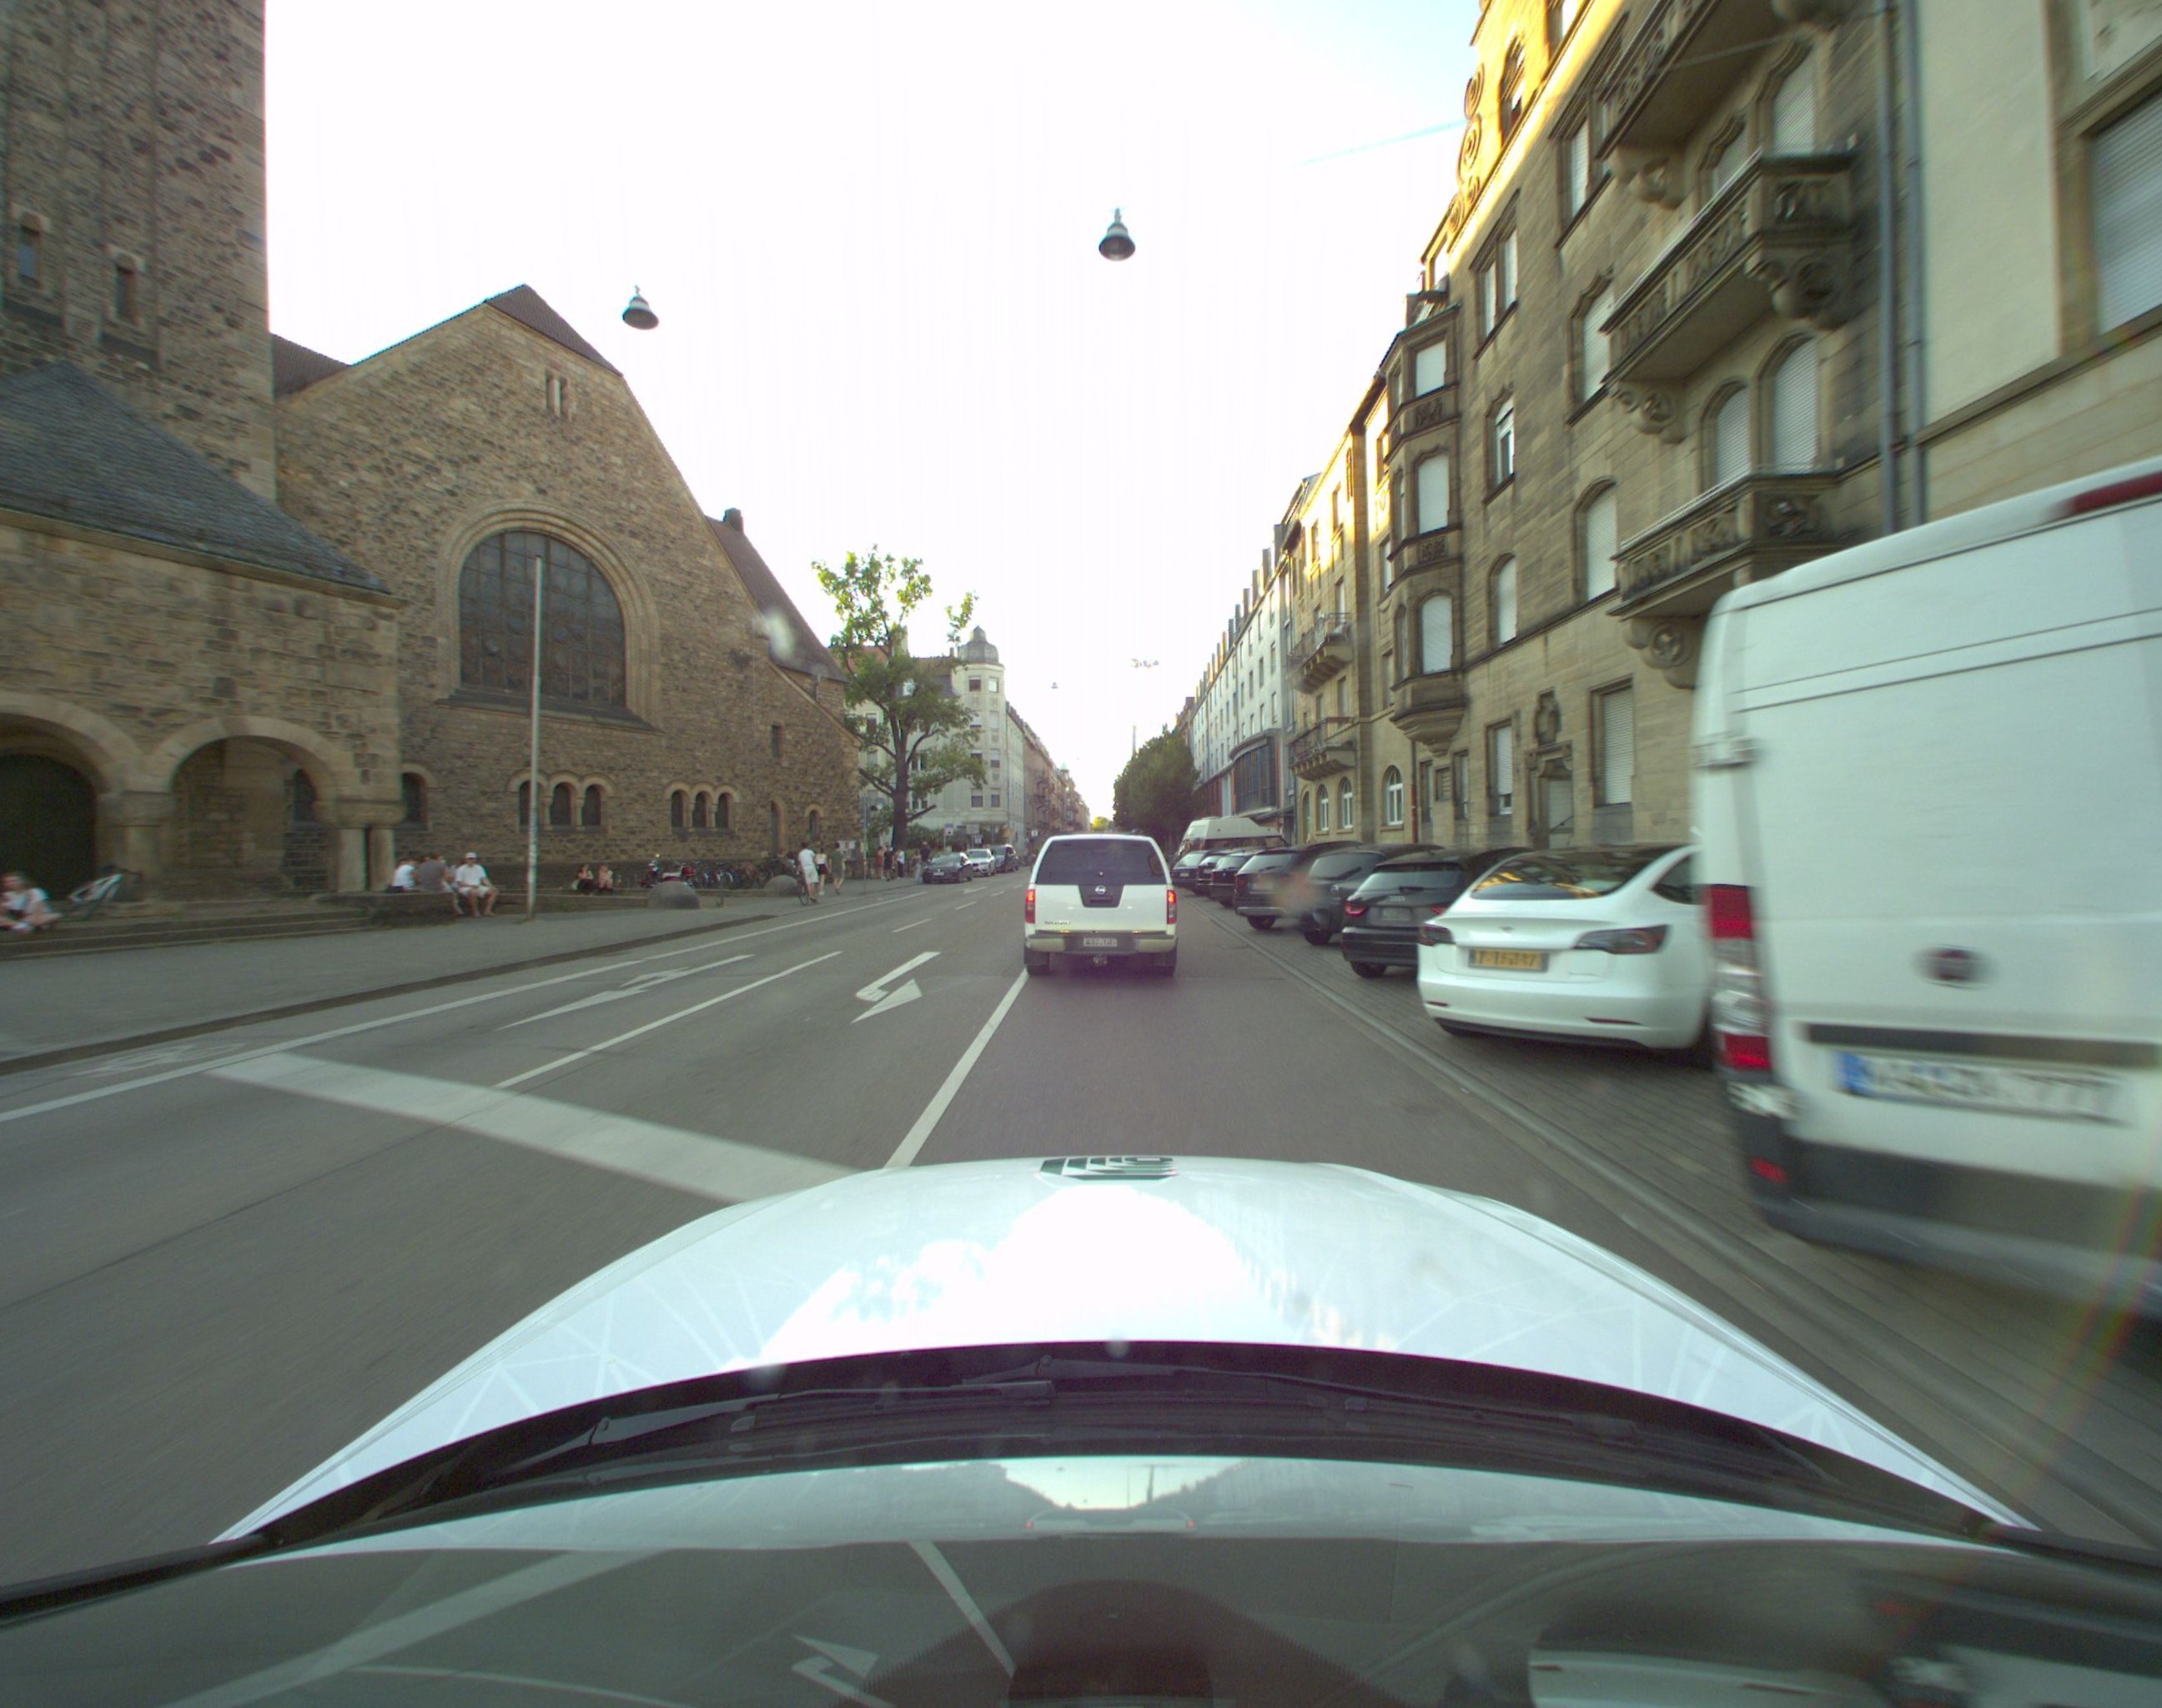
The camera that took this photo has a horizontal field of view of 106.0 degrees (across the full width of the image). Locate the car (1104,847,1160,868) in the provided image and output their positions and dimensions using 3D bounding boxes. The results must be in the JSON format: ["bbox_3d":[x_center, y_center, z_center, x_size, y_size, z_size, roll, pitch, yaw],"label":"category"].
[{"bbox_3d":[3.984,0.234,63.389,4.009,1.506,1.755,-2,0,-27],"label":"car"}]

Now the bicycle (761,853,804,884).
[{"bbox_3d":[-12.364,0.599,33.740,1.715,1.248,0.439,-1,0,16],"label":"bicycle"}]

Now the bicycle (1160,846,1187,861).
[{"bbox_3d":[8.967,-0.038,79.100,2.522,1.379,0.600,-1,0,4],"label":"bicycle"}]

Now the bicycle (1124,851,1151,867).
[{"bbox_3d":[3.938,0.361,56.714,1.851,1.038,0.472,-3,0,0],"label":"bicycle"}]

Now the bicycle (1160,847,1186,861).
[{"bbox_3d":[9.053,-0.018,80.475,2.522,1.379,0.600,-1,0,4],"label":"bicycle"}]

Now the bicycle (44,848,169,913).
[{"bbox_3d":[-16.645,0.459,13.905,2.260,1.057,0.598,-1,0,20],"label":"bicycle"}]

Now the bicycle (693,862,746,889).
[{"bbox_3d":[-13.646,0.799,30.718,1.986,0.989,0.468,-1,0,17],"label":"bicycle"}]

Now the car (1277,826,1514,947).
[{"bbox_3d":[5.089,0.443,12.959,3.936,1.544,1.697,-3,-1,-39],"label":"car"}]

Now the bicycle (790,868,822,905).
[{"bbox_3d":[-8.251,0.955,24.521,0.551,1.012,2.181,0,0,-9],"label":"bicycle"}]

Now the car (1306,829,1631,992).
[{"bbox_3d":[4.720,0.551,9.716,3.935,1.446,1.853,-3,-1,-38],"label":"car"}]

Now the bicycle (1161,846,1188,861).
[{"bbox_3d":[8.962,-0.036,78.385,2.522,1.379,0.600,-1,0,4],"label":"bicycle"}]

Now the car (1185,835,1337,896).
[{"bbox_3d":[5.329,0.336,24.111,4.130,1.546,1.780,-2,-2,-26],"label":"car"}]

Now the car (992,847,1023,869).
[{"bbox_3d":[-5.371,0.252,59.921,1.633,1.555,4.009,-1,0,4],"label":"car"}]

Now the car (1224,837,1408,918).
[{"bbox_3d":[5.387,0.481,18.539,4.074,1.498,1.736,-4,0,-33],"label":"car"}]

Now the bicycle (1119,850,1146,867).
[{"bbox_3d":[3.619,0.331,57.676,1.851,1.066,0.446,-3,0,0],"label":"bicycle"}]

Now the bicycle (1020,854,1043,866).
[{"bbox_3d":[-4.600,0.534,75.785,2.090,1.094,0.504,0,1,27],"label":"bicycle"}]

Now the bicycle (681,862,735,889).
[{"bbox_3d":[-13.854,0.805,30.247,1.986,0.989,0.468,-1,0,17],"label":"bicycle"}]

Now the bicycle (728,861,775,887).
[{"bbox_3d":[-12.977,0.786,32.083,1.864,0.989,0.372,-1,0,16],"label":"bicycle"}]

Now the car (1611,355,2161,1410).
[{"bbox_3d":[4.903,-0.025,3.836,5.914,2.551,2.170,-3,-1,-39],"label":"car"}]

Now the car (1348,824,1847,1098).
[{"bbox_3d":[4.350,0.579,6.629,4.274,1.453,1.978,-3,0,-36],"label":"car"}]

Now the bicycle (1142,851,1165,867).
[{"bbox_3d":[4.991,0.322,56.074,1.534,1.038,0.472,-3,0,0],"label":"bicycle"}]

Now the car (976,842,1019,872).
[{"bbox_3d":[-5.574,0.169,54.791,1.985,1.866,5.295,-1,0,4],"label":"car"}]

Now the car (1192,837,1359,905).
[{"bbox_3d":[5.087,0.408,21.178,4.050,1.431,1.849,-4,0,-32],"label":"car"}]

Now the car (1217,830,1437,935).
[{"bbox_3d":[4.734,0.471,15.445,4.117,1.607,1.796,-4,0,-36],"label":"car"}]

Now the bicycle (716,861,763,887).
[{"bbox_3d":[-13.282,0.792,31.662,1.864,0.989,0.372,-1,0,17],"label":"bicycle"}]

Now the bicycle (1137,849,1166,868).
[{"bbox_3d":[4.736,0.302,54.883,1.852,1.146,0.659,-4,0,1],"label":"bicycle"}]

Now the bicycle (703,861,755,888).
[{"bbox_3d":[-13.488,0.787,31.203,1.968,0.989,0.468,-1,0,17],"label":"bicycle"}]

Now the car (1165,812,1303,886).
[{"bbox_3d":[5.619,-0.195,29.762,4.736,2.547,1.901,-1,-1,-27],"label":"car"}]

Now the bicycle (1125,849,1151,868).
[{"bbox_3d":[3.878,0.302,55.546,1.702,1.176,0.472,-3,0,0],"label":"bicycle"}]

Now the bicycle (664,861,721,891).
[{"bbox_3d":[-14.131,0.789,29.631,1.986,0.989,0.588,2,1,17],"label":"bicycle"}]

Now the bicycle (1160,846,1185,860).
[{"bbox_3d":[9.412,-0.082,84.152,2.522,1.379,0.600,-1,0,4],"label":"bicycle"}]

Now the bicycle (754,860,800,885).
[{"bbox_3d":[-12.424,0.742,33.284,1.864,0.989,0.443,-1,0,17],"label":"bicycle"}]

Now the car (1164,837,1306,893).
[{"bbox_3d":[5.101,0.331,26.848,4.411,1.486,1.827,-4,1,-29],"label":"car"}]
